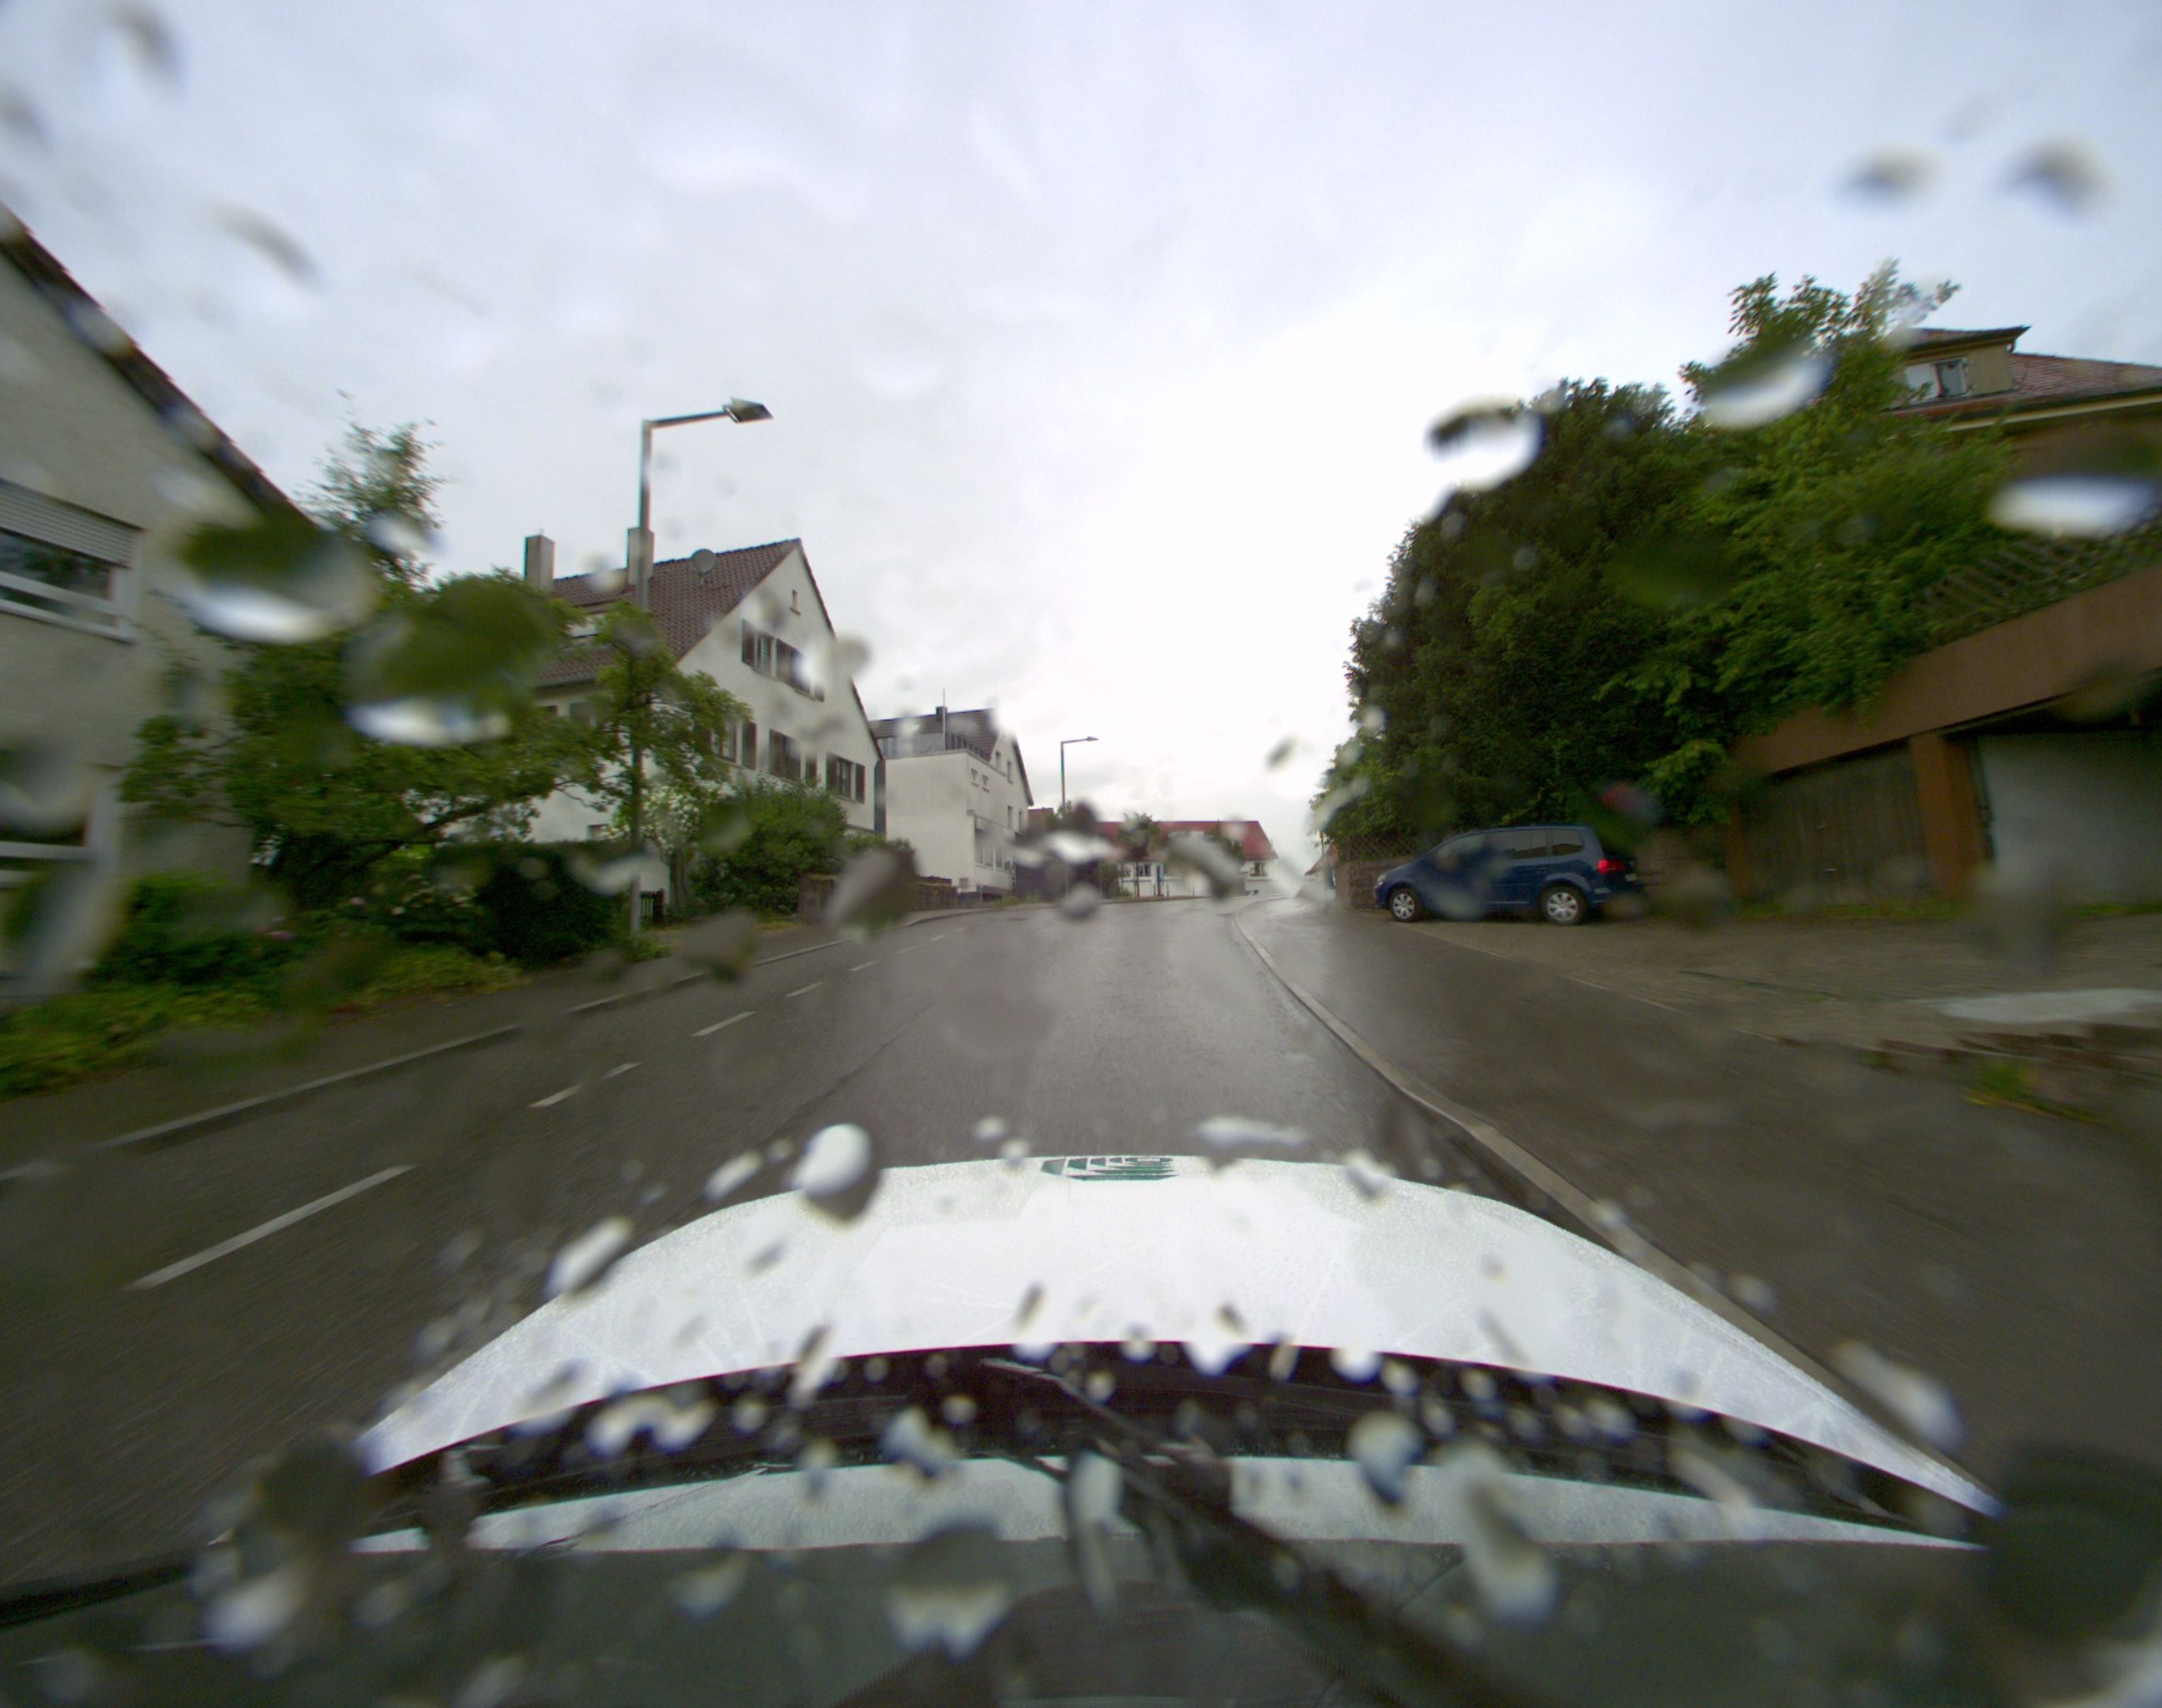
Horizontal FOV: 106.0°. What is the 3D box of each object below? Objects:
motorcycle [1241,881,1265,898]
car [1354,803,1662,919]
[{"bbox_3d":[14.995,3.066,71.087,2.054,1.322,0.701,-1,-6,-35],"label":"motorcycle"},{"bbox_3d":[7.315,0.206,14.328,1.866,1.606,4.288,-7,1,-40],"label":"car"}]
